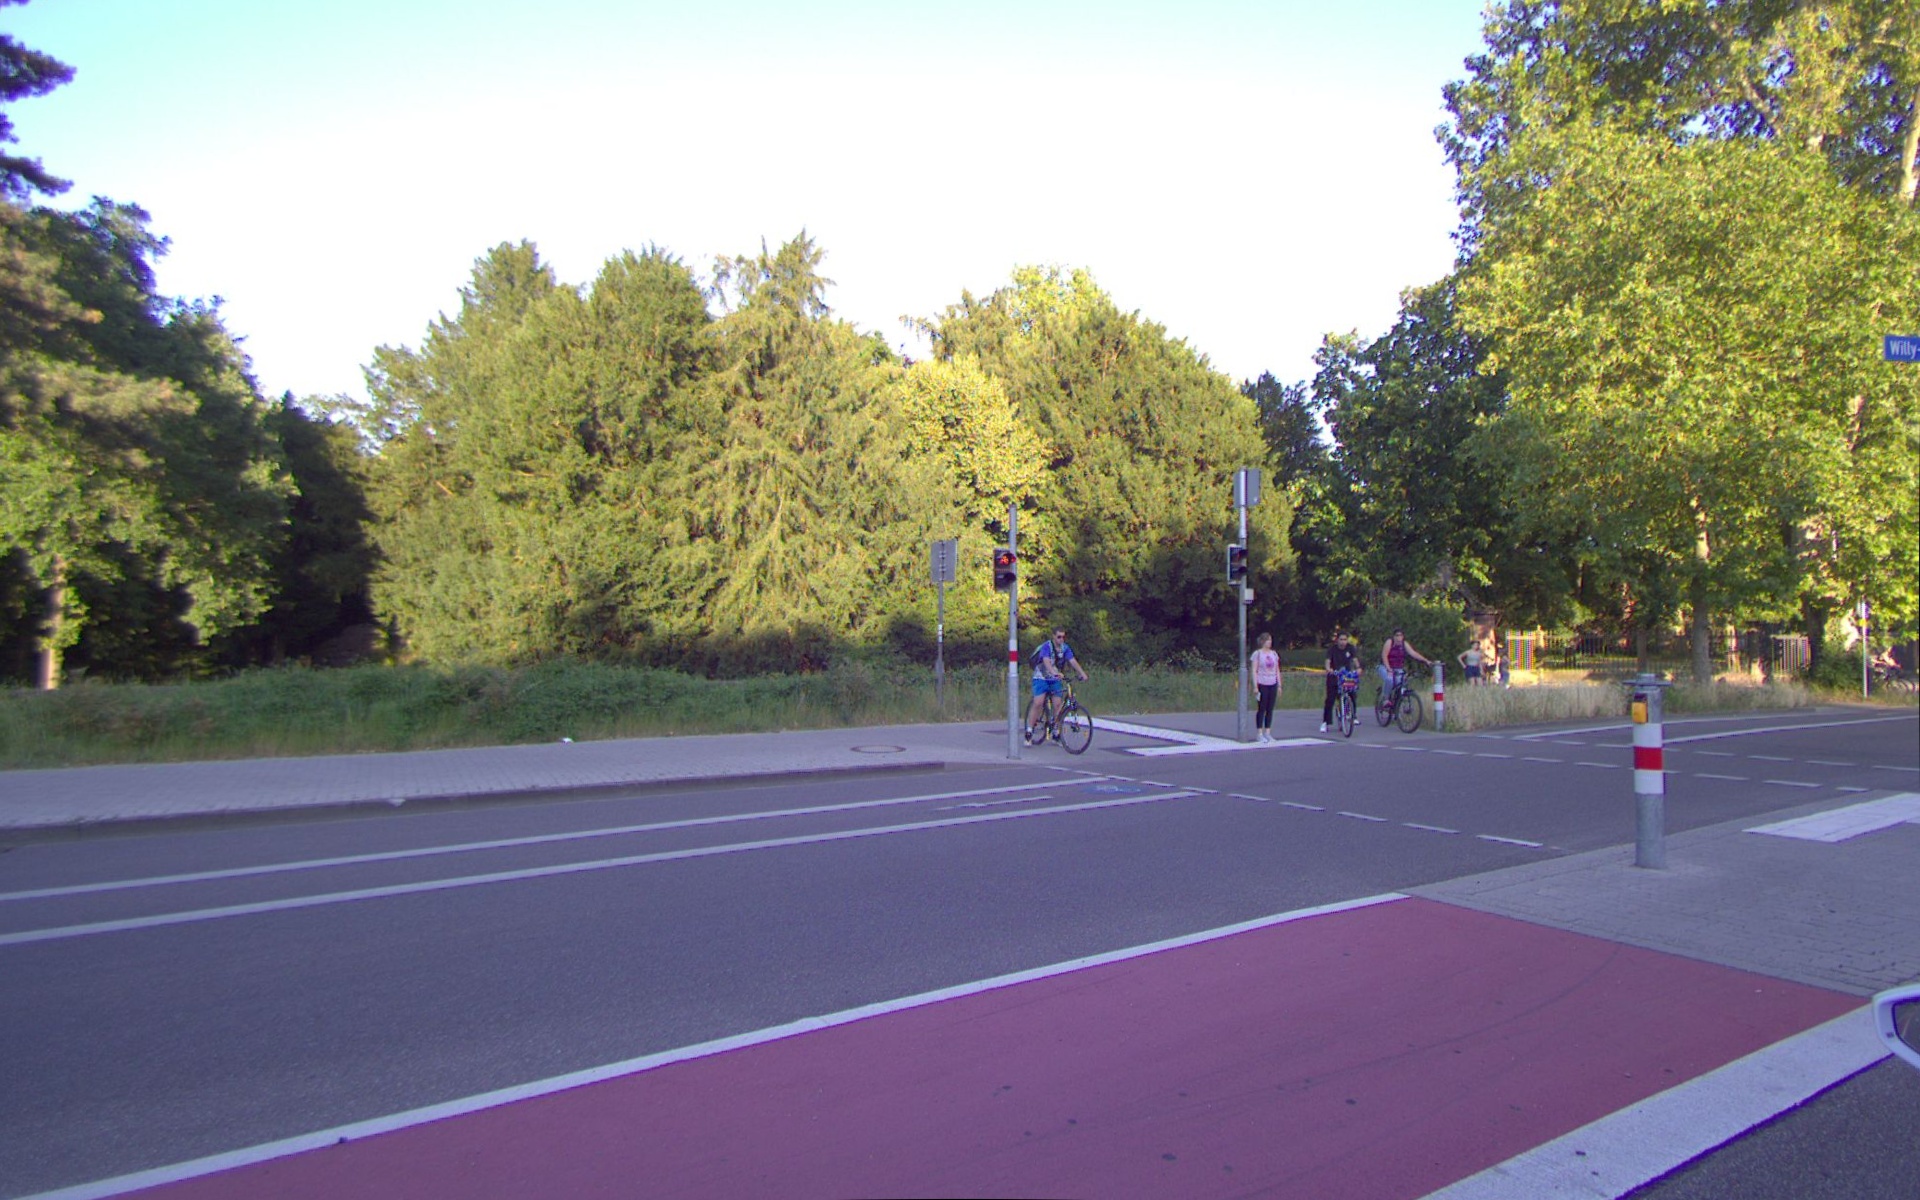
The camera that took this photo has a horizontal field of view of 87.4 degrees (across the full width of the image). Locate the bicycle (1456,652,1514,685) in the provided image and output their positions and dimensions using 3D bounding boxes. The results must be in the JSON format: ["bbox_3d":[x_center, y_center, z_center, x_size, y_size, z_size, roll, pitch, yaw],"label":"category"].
[{"bbox_3d":[18.508,2.394,35.493,0.727,1.046,2.296,1,-1,-4],"label":"bicycle"}]

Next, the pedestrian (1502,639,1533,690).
[{"bbox_3d":[23.012,2.643,41.481,1.067,2.040,0.755,2,-1,-36],"label":"pedestrian"}]

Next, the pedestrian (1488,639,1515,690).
[{"bbox_3d":[21.828,2.596,40.505,0.690,2.040,0.639,1,-2,-21],"label":"pedestrian"}]

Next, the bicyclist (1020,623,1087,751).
[{"bbox_3d":[1.399,1.284,15.082,0.729,1.848,0.705,1,-2,-33],"label":"bicyclist"}]

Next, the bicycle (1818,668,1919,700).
[{"bbox_3d":[29.220,2.677,32.270,0.765,0.936,2.420,1,-2,-29],"label":"bicycle"}]

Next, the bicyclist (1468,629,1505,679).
[{"bbox_3d":[18.627,1.895,35.548,0.743,1.751,0.944,1,-1,-5],"label":"bicyclist"}]

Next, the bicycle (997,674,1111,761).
[{"bbox_3d":[1.349,1.704,14.966,0.762,1.115,2.110,1,-2,-24],"label":"bicycle"}]

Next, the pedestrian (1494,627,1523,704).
[{"bbox_3d":[14.796,1.762,27.104,0.584,2.040,0.642,0,-1,20],"label":"pedestrian"}]

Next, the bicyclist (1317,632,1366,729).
[{"bbox_3d":[6.680,1.395,17.606,0.618,1.671,0.640,0,-2,1],"label":"bicyclist"}]

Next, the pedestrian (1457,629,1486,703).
[{"bbox_3d":[14.262,1.830,28.020,0.638,2.040,0.606,0,-1,22],"label":"pedestrian"}]

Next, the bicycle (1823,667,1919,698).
[{"bbox_3d":[30.444,2.728,33.479,0.765,0.936,2.420,1,-2,-29],"label":"bicycle"}]

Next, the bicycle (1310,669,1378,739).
[{"bbox_3d":[6.677,1.784,17.530,0.620,1.126,1.569,0,-2,1],"label":"bicycle"}]

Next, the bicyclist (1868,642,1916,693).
[{"bbox_3d":[30.685,2.217,33.084,0.743,1.652,0.954,1,-2,-29],"label":"bicyclist"}]

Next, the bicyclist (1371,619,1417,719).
[{"bbox_3d":[8.026,1.262,18.591,0.564,1.803,0.640,0,-2,1],"label":"bicyclist"}]

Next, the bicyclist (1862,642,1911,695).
[{"bbox_3d":[29.430,2.169,31.910,0.743,1.652,0.954,1,-2,-29],"label":"bicyclist"}]

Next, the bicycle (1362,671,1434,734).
[{"bbox_3d":[8.025,1.852,18.472,0.568,1.043,1.772,0,-2,1],"label":"bicycle"}]

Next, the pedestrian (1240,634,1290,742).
[{"bbox_3d":[4.982,1.412,16.411,0.492,1.718,0.604,1,-2,-28],"label":"pedestrian"}]
